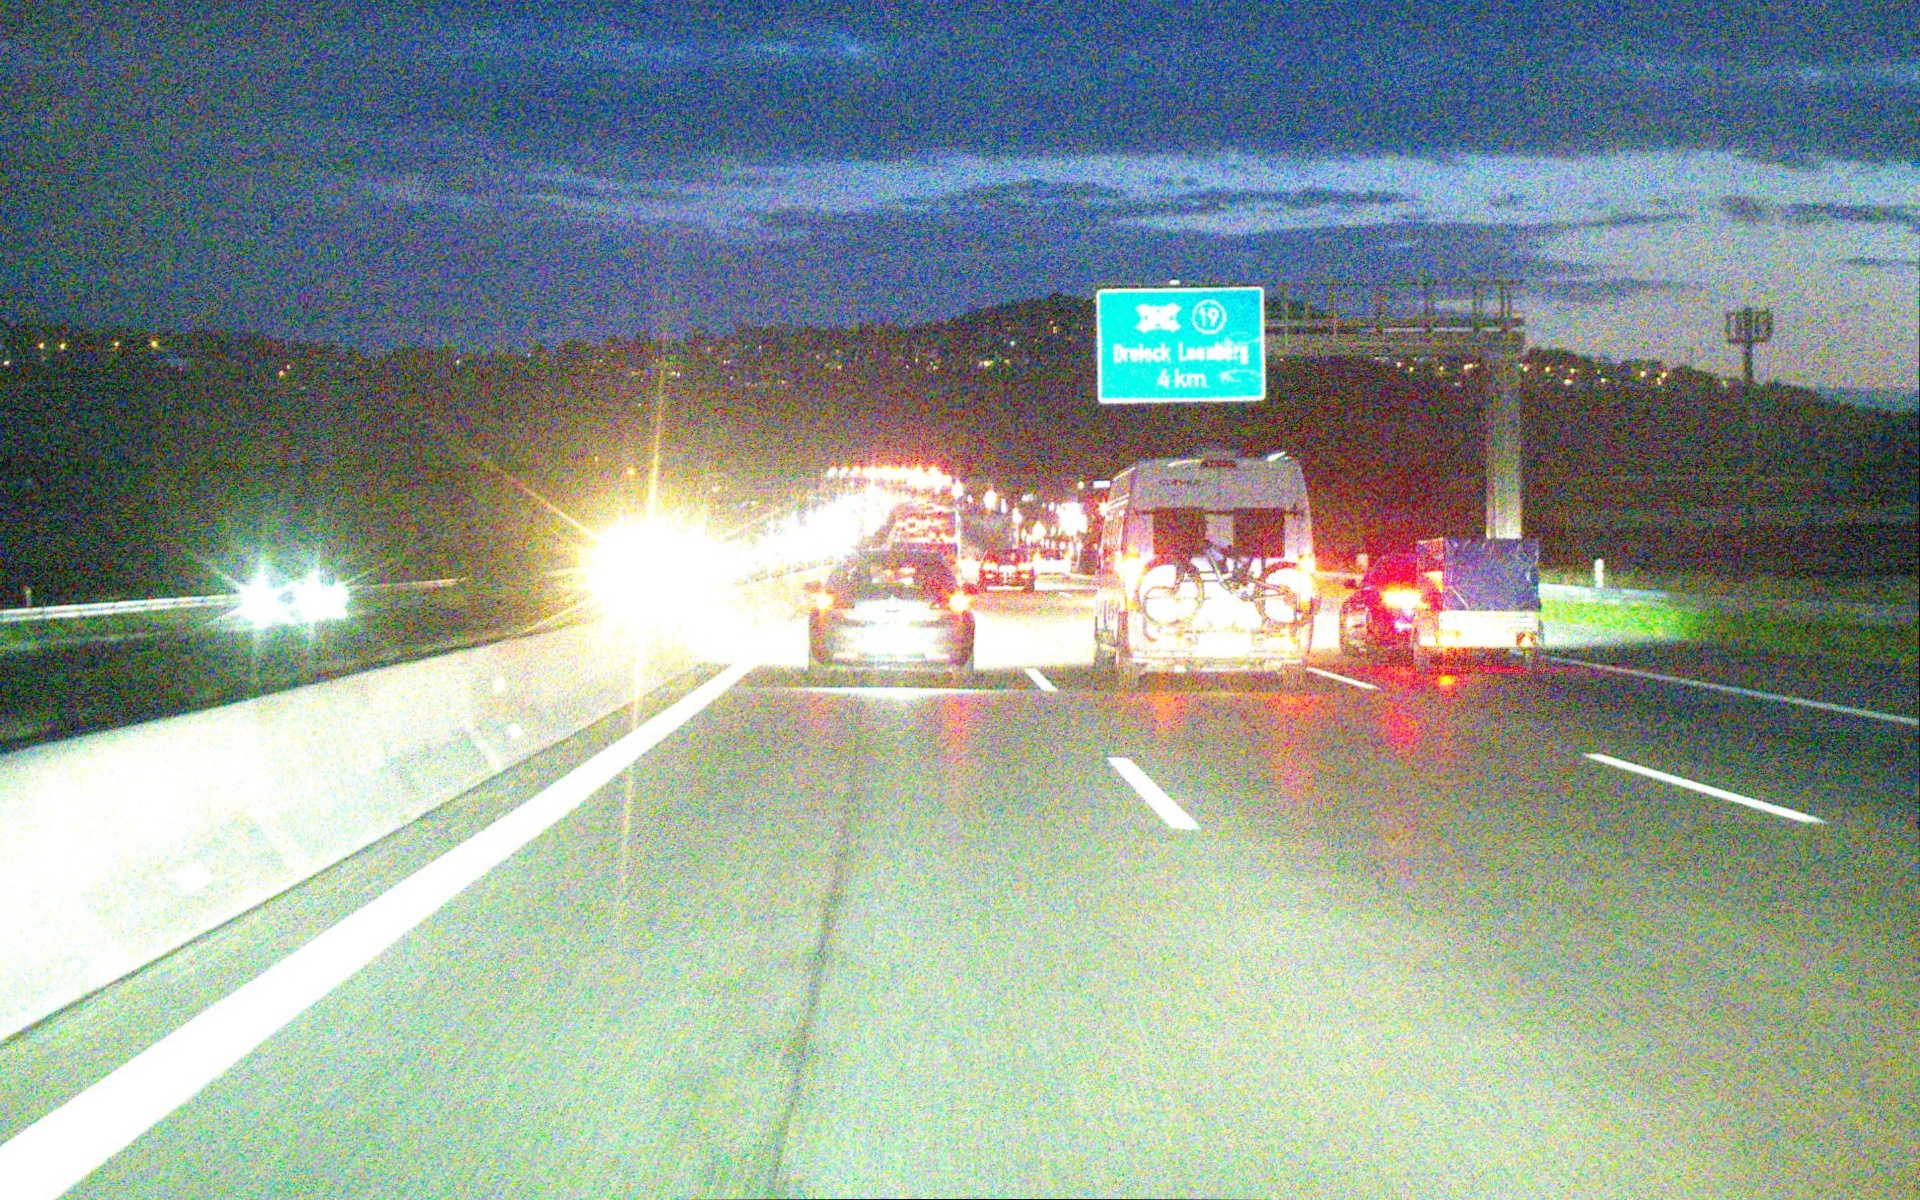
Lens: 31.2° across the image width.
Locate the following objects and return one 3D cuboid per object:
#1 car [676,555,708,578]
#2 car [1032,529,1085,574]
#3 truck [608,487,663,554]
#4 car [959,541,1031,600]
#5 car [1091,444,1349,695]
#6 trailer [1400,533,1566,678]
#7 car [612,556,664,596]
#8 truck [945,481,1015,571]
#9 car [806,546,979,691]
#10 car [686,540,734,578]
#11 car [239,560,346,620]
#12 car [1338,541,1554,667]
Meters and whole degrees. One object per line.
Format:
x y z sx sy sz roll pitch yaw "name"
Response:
-19.043 -2.407 244.589 1.993 1.626 4.000 0 1 -1 "car"
4.758 -2.364 166.891 2.351 2.068 4.723 -1 1 0 "car"
-19.582 -4.767 207.611 2.781 3.942 7.994 -1 1 -2 "truck"
1.154 -1.017 116.598 2.351 1.907 4.723 -1 1 0 "car"
2.759 -0.384 37.929 2.351 2.526 5.701 -1 1 0 "car"
6.327 0.041 41.825 1.566 1.687 2.821 -1 1 0 "trailer"
-13.792 -1.054 147.340 1.812 1.637 4.158 -1 1 0 "car"
0.870 -3.342 156.461 2.781 3.942 7.994 -1 1 -2 "truck"
-0.713 0.166 37.765 1.793 1.464 3.773 0 1 0 "car"
-10.945 -1.805 150.625 1.812 1.637 4.158 -1 1 0 "car"
-18.179 -0.301 93.803 1.993 1.473 5.045 -3 1 -1 "car"
6.354 0.008 45.455 2.163 1.558 4.723 0 1 0 "car"
